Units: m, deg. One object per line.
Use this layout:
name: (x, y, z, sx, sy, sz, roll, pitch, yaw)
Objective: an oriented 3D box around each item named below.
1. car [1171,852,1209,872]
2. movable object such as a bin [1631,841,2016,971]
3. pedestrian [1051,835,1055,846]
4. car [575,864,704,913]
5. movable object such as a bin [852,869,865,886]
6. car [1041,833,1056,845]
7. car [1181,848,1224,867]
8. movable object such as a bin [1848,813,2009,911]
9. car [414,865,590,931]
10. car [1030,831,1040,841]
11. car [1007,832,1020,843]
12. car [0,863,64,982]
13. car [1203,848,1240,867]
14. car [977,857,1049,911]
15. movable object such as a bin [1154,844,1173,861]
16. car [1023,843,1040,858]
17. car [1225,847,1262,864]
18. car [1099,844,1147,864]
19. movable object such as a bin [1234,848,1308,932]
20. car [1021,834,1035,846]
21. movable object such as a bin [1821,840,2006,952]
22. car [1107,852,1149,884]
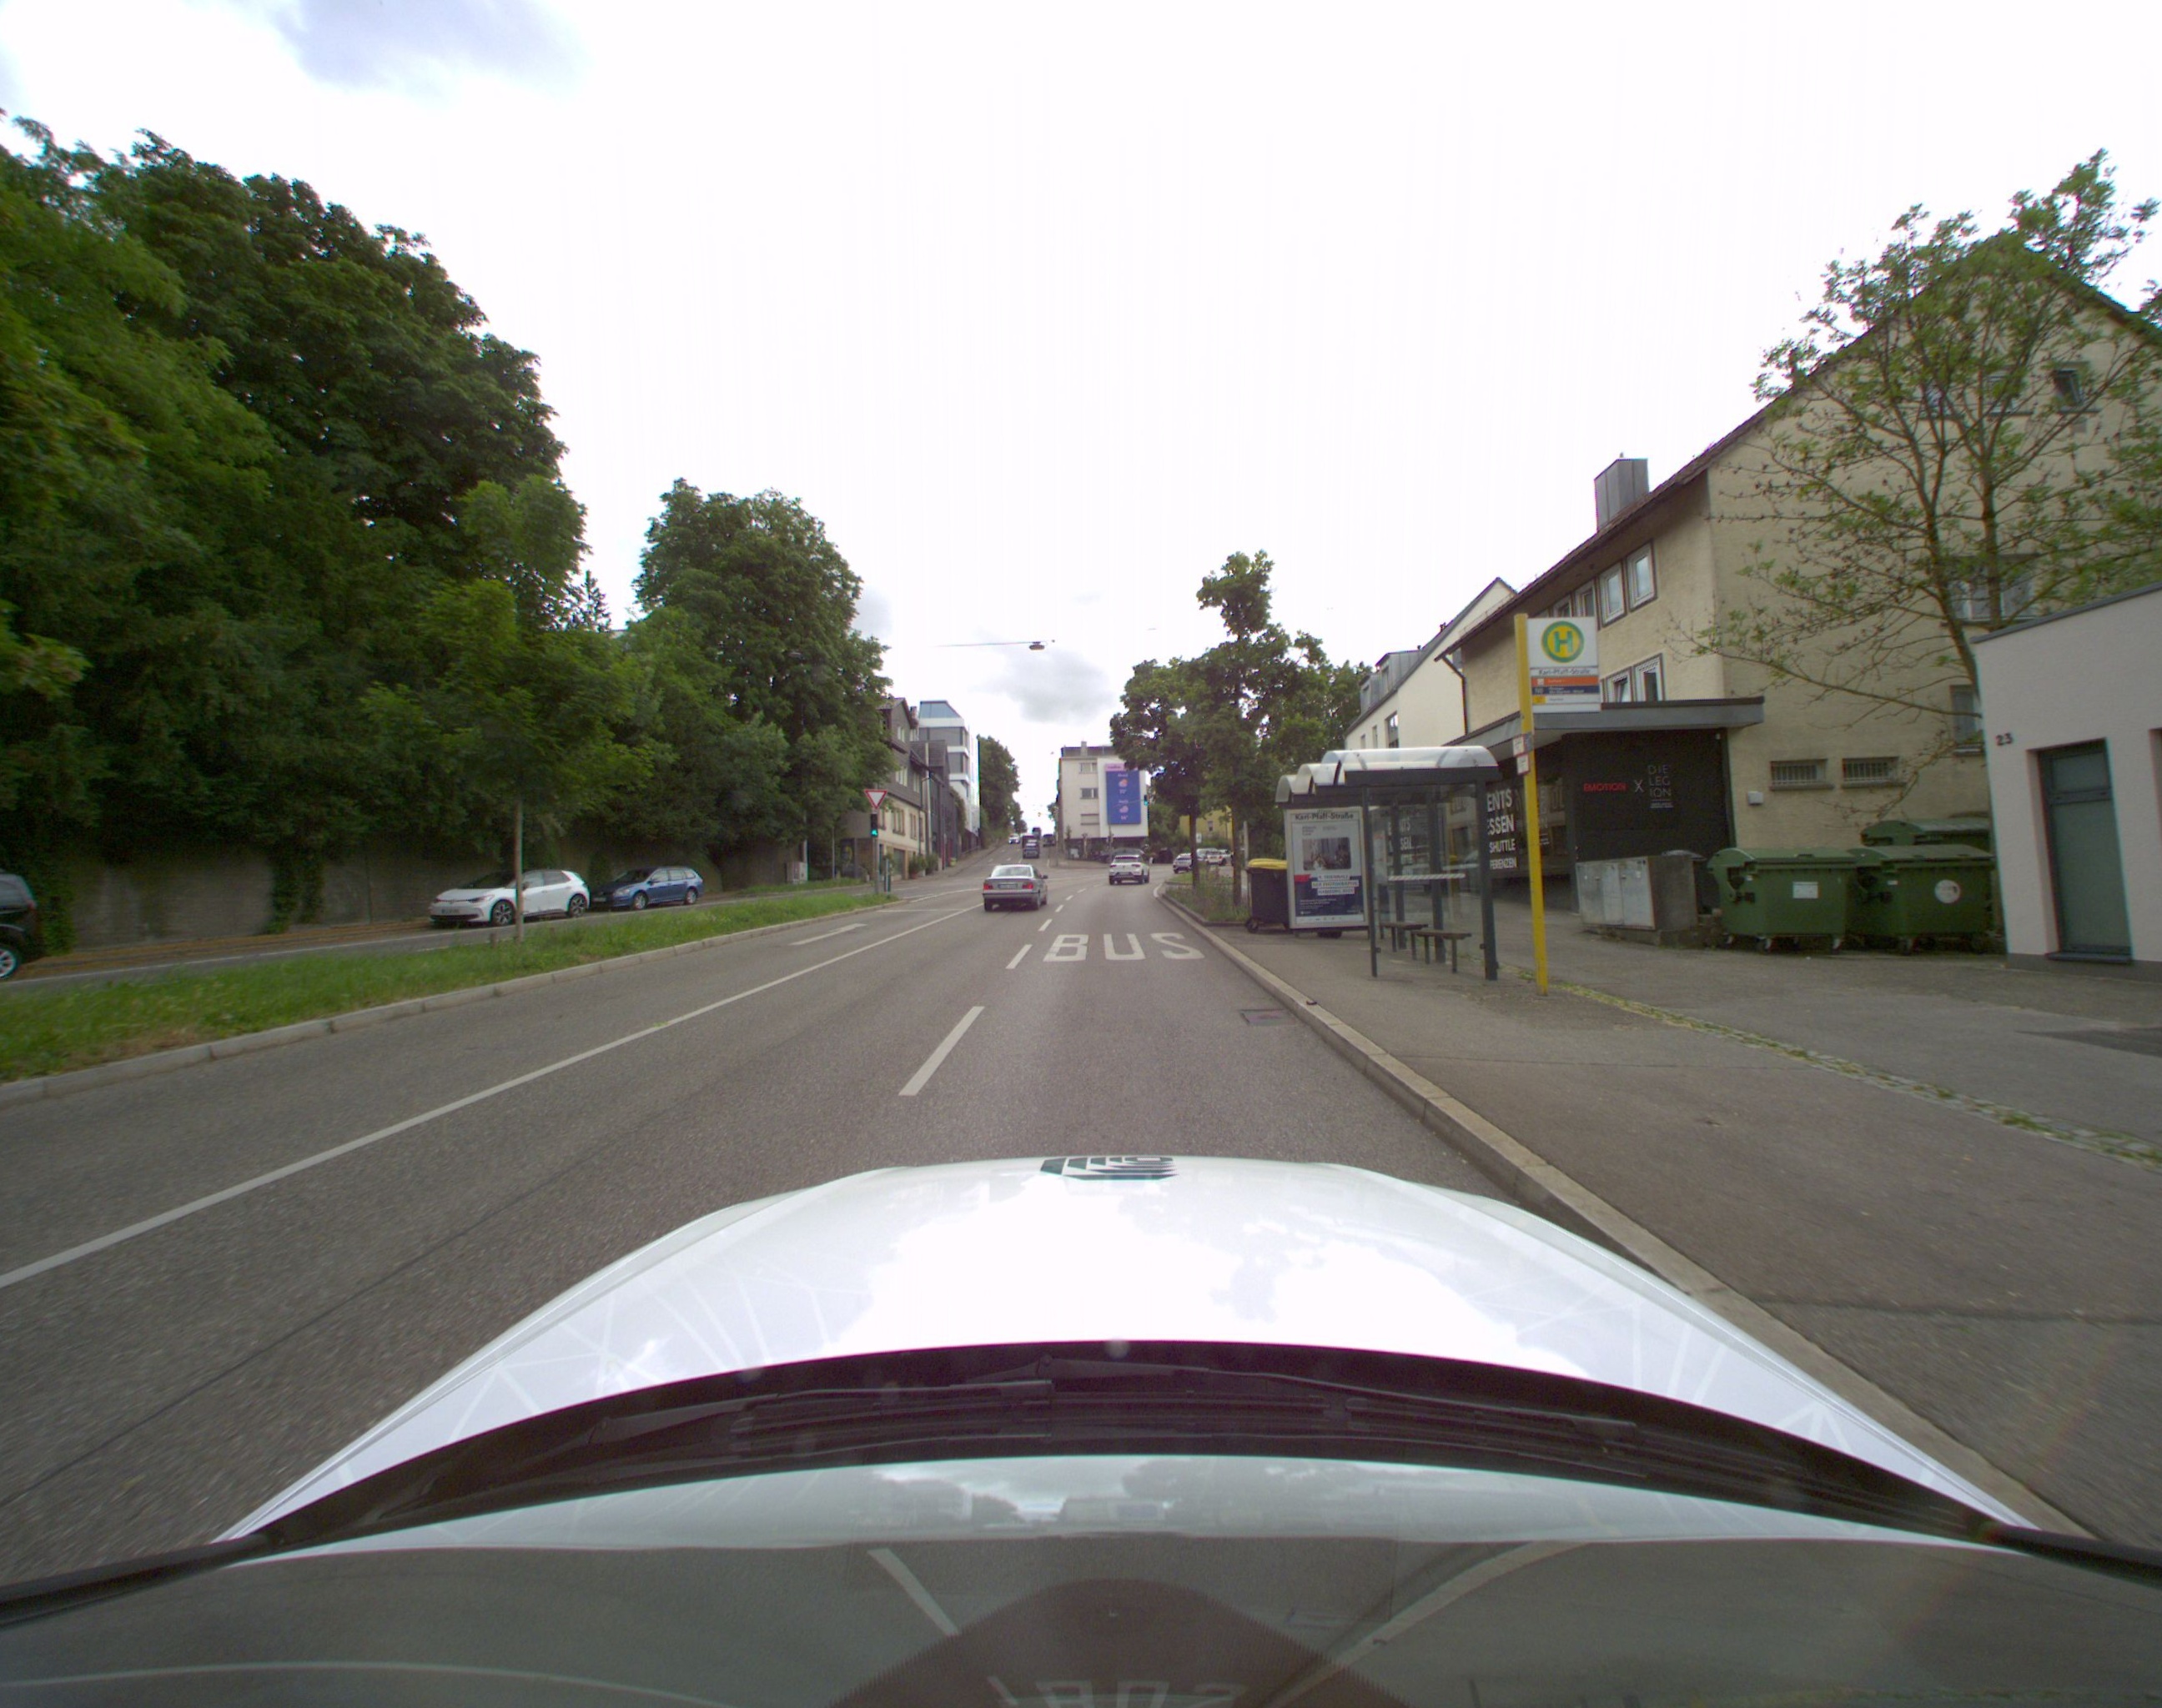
car: (8.017, 0.568, 59.694, 1.764, 1.409, 4.022, -1, 1, 22)
movable object such as a bin: (9.856, 0.583, 11.340, 1.880, 1.451, 4.004, -1, 0, 4)
pedestrian: (-3.961, -1.962, 116.128, 0.456, 1.529, 0.527, -1, -1, -1)
car: (-15.599, 1.175, 29.079, 1.701, 1.528, 4.313, -1, 1, 10)
movable object such as a bin: (-13.780, 1.473, 50.433, 0.534, 1.019, 0.649, -2, -2, 15)
car: (-4.643, -2.116, 117.558, 2.083, 1.613, 3.998, -1, 0, -1)
car: (11.614, 0.333, 77.907, 1.878, 1.695, 4.374, -2, 0, 43)
movable object such as a bin: (13.015, 0.120, 12.556, 1.334, 1.409, 1.072, -1, 0, 3)
car: (-16.500, 1.192, 23.505, 1.770, 1.629, 4.178, -1, 1, 6)
car: (-8.181, -3.237, 145.051, 1.775, 1.579, 3.997, -2, -1, -2)
car: (-10.827, -2.640, 130.779, 1.878, 1.567, 4.386, -2, 3, -2)
car: (-17.898, 1.107, 11.279, 1.771, 1.843, 4.494, -1, 1, 5)
car: (12.636, 0.281, 73.129, 1.762, 1.579, 4.026, -1, 0, 33)
car: (-2.043, 0.873, 25.391, 1.699, 1.464, 4.003, -1, 1, 3)
movable object such as a bin: (8.890, -0.164, 87.415, 1.751, 1.779, 1.861, -2, 0, 11)
car: (-5.464, -0.444, 89.780, 1.775, 1.579, 3.997, -1, 1, -2)
car: (14.061, 0.137, 70.458, 1.777, 1.409, 4.026, -1, 1, 32)
car: (4.261, -0.038, 82.791, 4.676, 1.712, 2.317, 3, 3, -2)
movable object such as a bin: (3.547, 0.640, 15.351, 1.081, 1.481, 1.538, -1, 0, 3)
car: (-7.400, -1.917, 114.690, 1.775, 1.579, 3.997, -3, 0, -2)
movable object such as a bin: (11.224, 0.543, 11.049, 1.334, 1.409, 1.129, -1, 0, 3)
car: (2.559, 0.696, 43.536, 1.769, 1.579, 4.011, -2, 0, 10)
